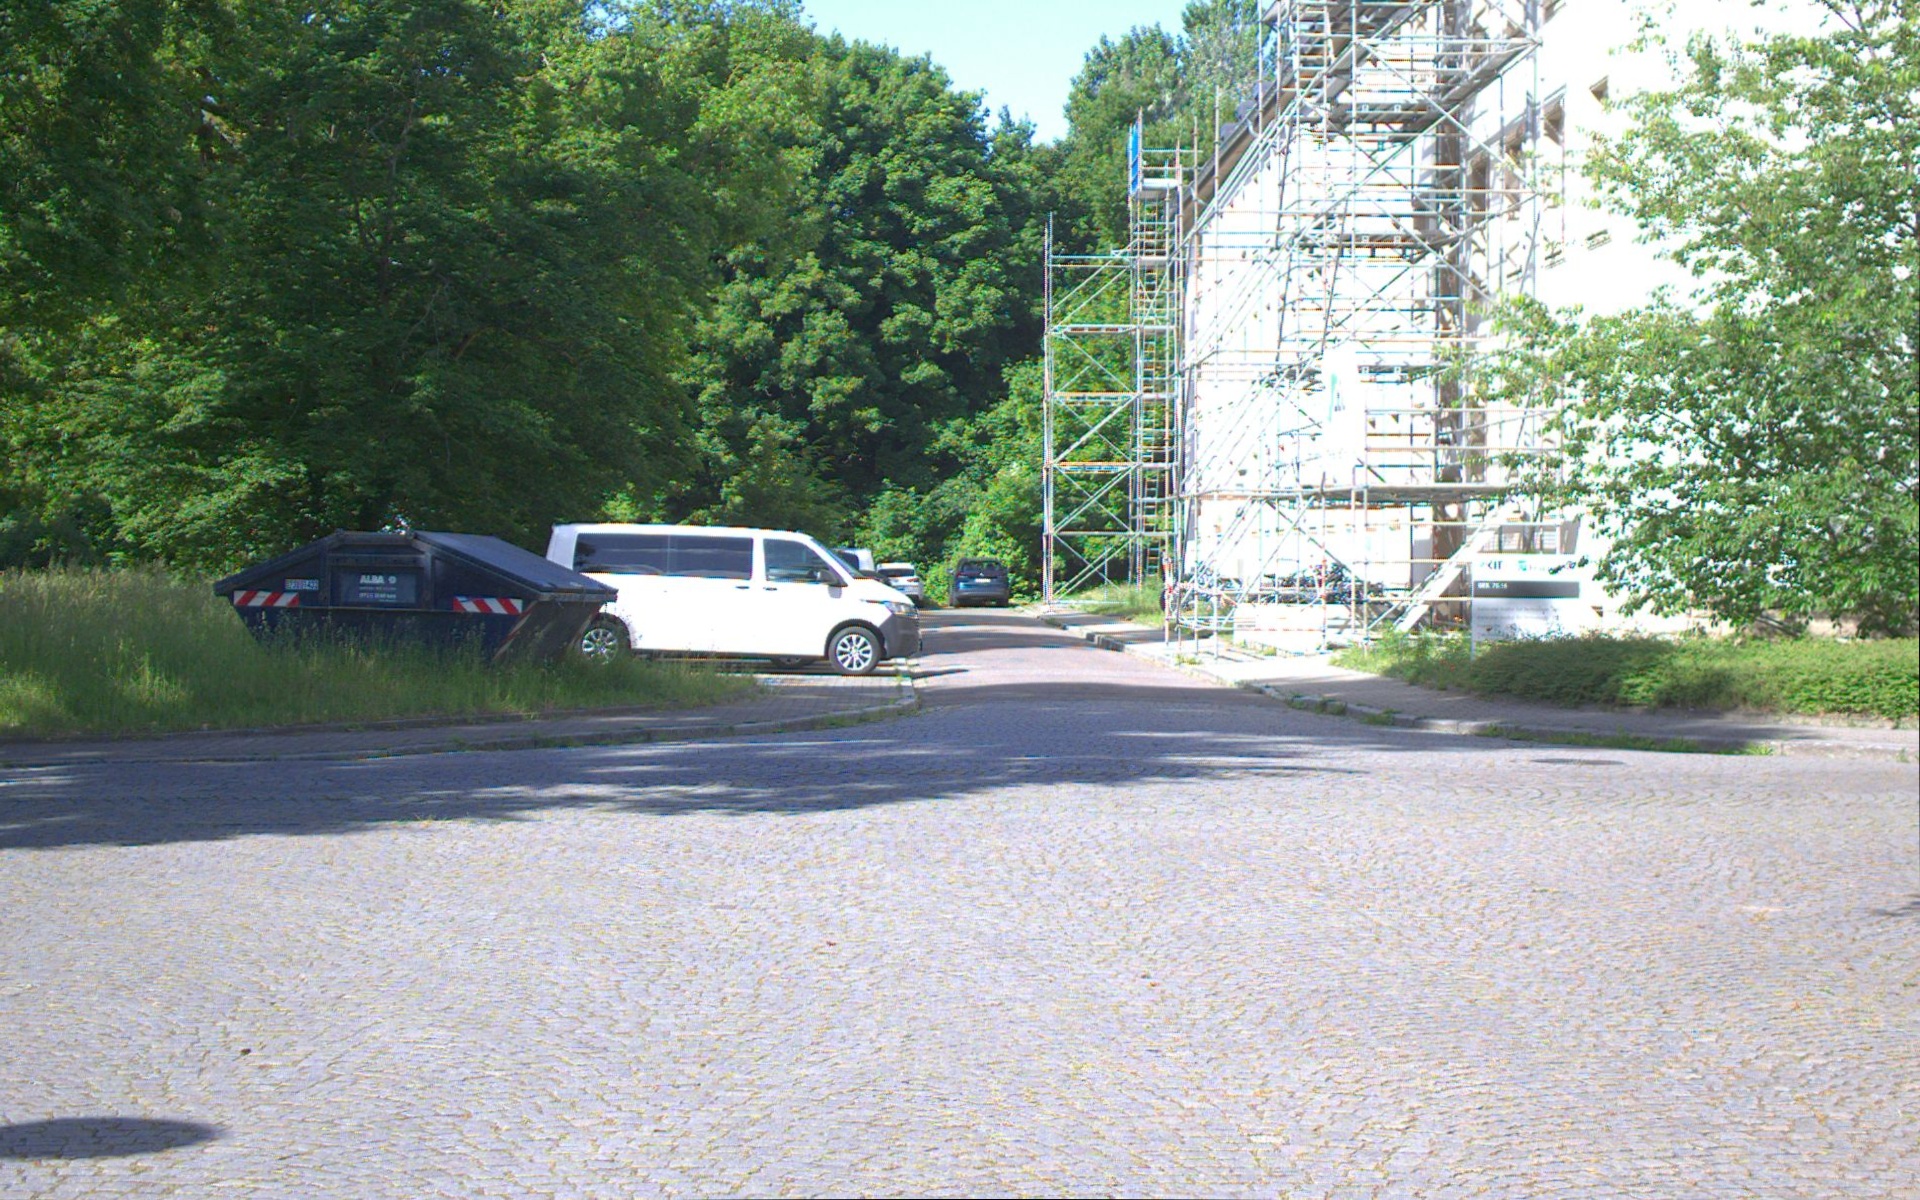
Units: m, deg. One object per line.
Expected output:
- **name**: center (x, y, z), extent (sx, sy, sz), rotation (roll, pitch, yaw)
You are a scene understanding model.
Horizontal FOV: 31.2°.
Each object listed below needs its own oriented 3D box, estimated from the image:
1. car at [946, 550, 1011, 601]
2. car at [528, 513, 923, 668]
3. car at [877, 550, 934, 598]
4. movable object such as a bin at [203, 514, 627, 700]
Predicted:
- **car**: center (0.590, -0.807, 113.145), extent (1.971, 1.662, 4.086), rotation (0, 1, -2)
- **car**: center (-3.149, -0.135, 46.767), extent (5.234, 2.009, 1.950), rotation (1, 1, -1)
- **car**: center (-1.808, -0.862, 112.808), extent (1.812, 1.574, 4.135), rotation (0, 1, -2)
- **movable object such as a bin**: center (-5.308, 0.047, 33.637), extent (3.568, 1.739, 2.023), rotation (0, 1, 18)
